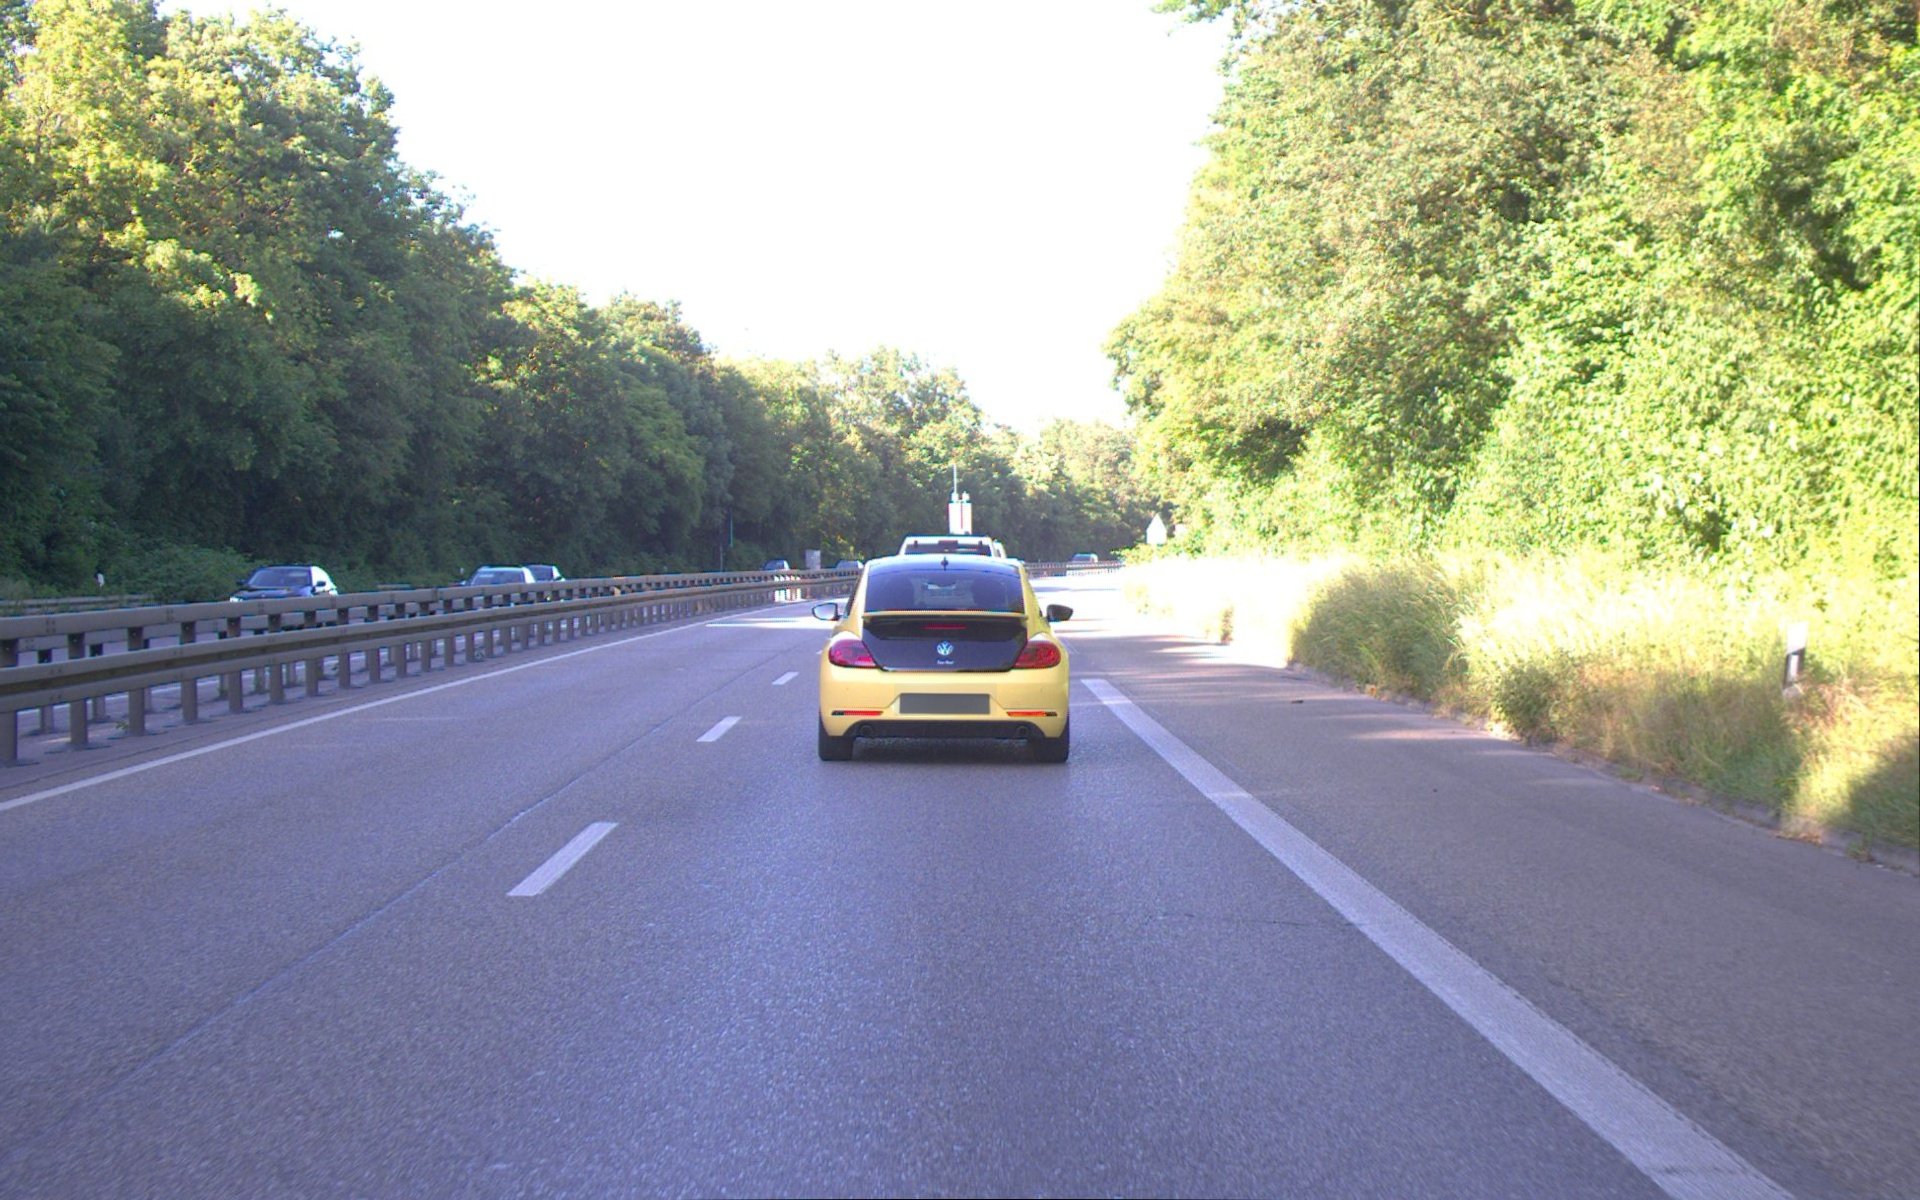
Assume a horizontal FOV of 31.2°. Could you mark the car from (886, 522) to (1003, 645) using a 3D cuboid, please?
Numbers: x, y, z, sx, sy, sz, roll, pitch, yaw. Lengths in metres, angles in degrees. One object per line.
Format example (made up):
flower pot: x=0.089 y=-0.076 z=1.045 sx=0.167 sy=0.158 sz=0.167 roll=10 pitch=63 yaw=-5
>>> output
car: x=-0.235 y=-0.279 z=53.069 sx=1.741 sy=1.823 sz=3.422 roll=0 pitch=1 yaw=0

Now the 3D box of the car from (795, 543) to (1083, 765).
car: x=-0.085 y=0.340 z=25.256 sx=1.939 sy=1.503 sz=3.422 roll=0 pitch=1 yaw=3

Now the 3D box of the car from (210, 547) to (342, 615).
car: x=-15.941 y=-0.469 z=80.395 sx=1.993 sy=1.459 sz=4.902 roll=-2 pitch=1 yaw=1
